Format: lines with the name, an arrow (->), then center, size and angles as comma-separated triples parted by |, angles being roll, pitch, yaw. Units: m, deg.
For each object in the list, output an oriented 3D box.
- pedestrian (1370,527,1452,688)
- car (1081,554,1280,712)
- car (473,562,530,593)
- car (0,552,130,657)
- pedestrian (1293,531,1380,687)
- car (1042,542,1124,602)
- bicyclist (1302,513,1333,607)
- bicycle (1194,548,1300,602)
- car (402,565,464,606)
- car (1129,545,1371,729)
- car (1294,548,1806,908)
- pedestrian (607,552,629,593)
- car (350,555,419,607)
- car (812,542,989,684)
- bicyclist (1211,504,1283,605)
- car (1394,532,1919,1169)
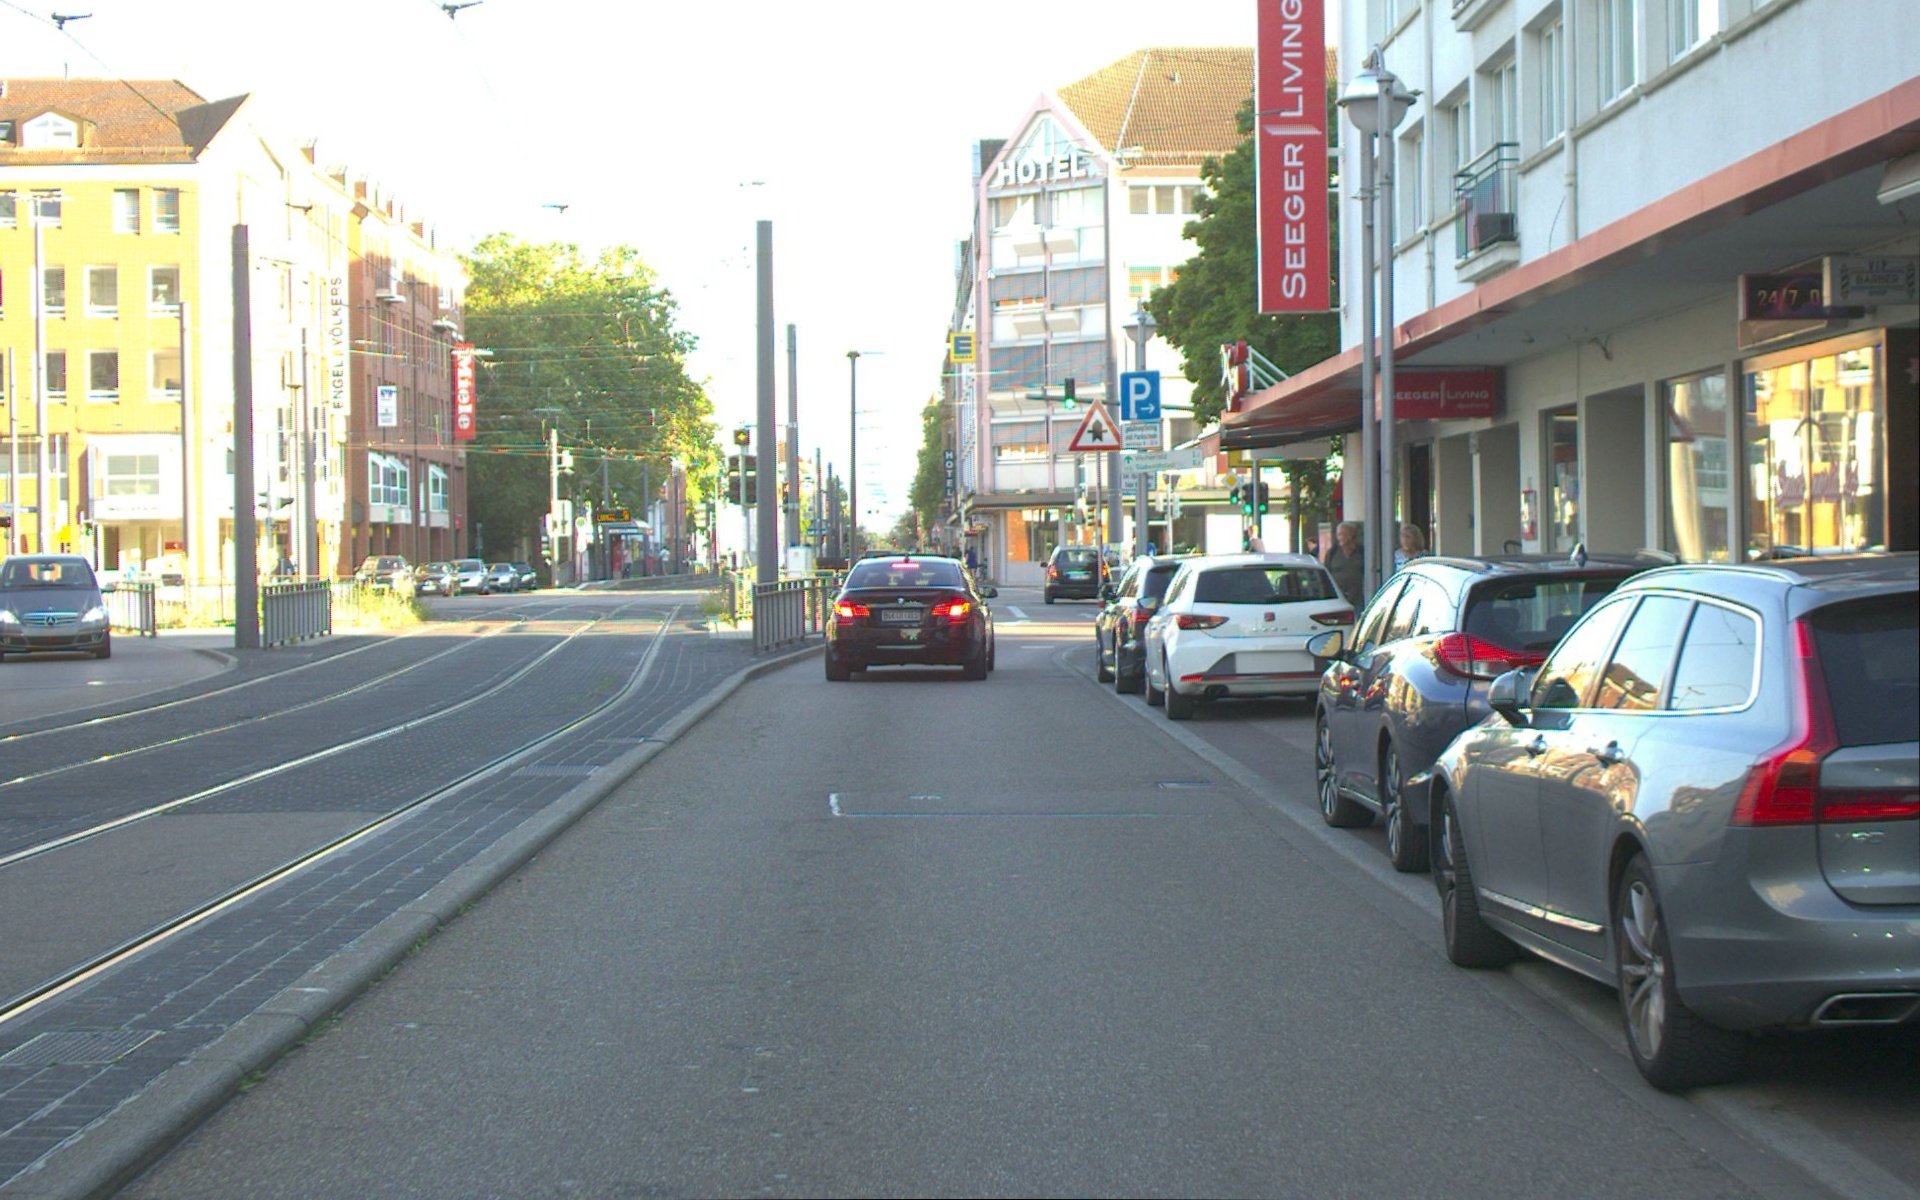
pedestrian -> 4.970, 0.077, 37.955 | 0.728, 1.735, 0.863 | -2, 1, 0
car -> 2.290, 0.298, 36.678 | 1.735, 1.507, 4.686 | -2, 1, 0
car -> -22.043, -1.107, 165.404 | 1.669, 1.443, 4.200 | 0, 1, 8
car -> -13.673, 0.039, 52.407 | 1.735, 1.507, 4.036 | -1, 1, -10
pedestrian -> 4.251, 0.099, 38.847 | 0.827, 1.712, 0.843 | -2, 1, 0
car -> 3.285, -0.767, 92.590 | 1.993, 1.546, 4.000 | -1, 1, -1
bicyclist -> 6.946, -0.780, 66.801 | 0.464, 1.824, 0.559 | -1, 1, -9
bicycle -> 5.482, -0.478, 65.780 | 0.838, 1.016, 2.077 | -1, 1, -38
car -> -21.272, -0.607, 138.906 | 1.993, 1.579, 4.587 | -1, 1, -3
car -> 2.579, 0.289, 31.385 | 1.785, 1.507, 4.052 | -2, 1, 0
car -> 2.782, 0.528, 17.144 | 1.735, 1.507, 4.303 | -2, 1, 0
pedestrian -> -16.971, -1.386, 170.676 | 0.988, 2.007, 0.726 | 1, 0, -2
car -> -21.448, -0.731, 128.307 | 1.993, 1.895, 4.812 | -1, 1, -3
car -> -0.712, 0.113, 41.126 | 1.993, 1.579, 4.000 | -1, 1, -1
bicyclist -> 5.489, -0.875, 65.761 | 0.838, 1.910, 1.114 | -1, 1, -38
car -> 2.648, 0.563, 10.714 | 1.790, 1.507, 4.712 | -2, 1, -2
